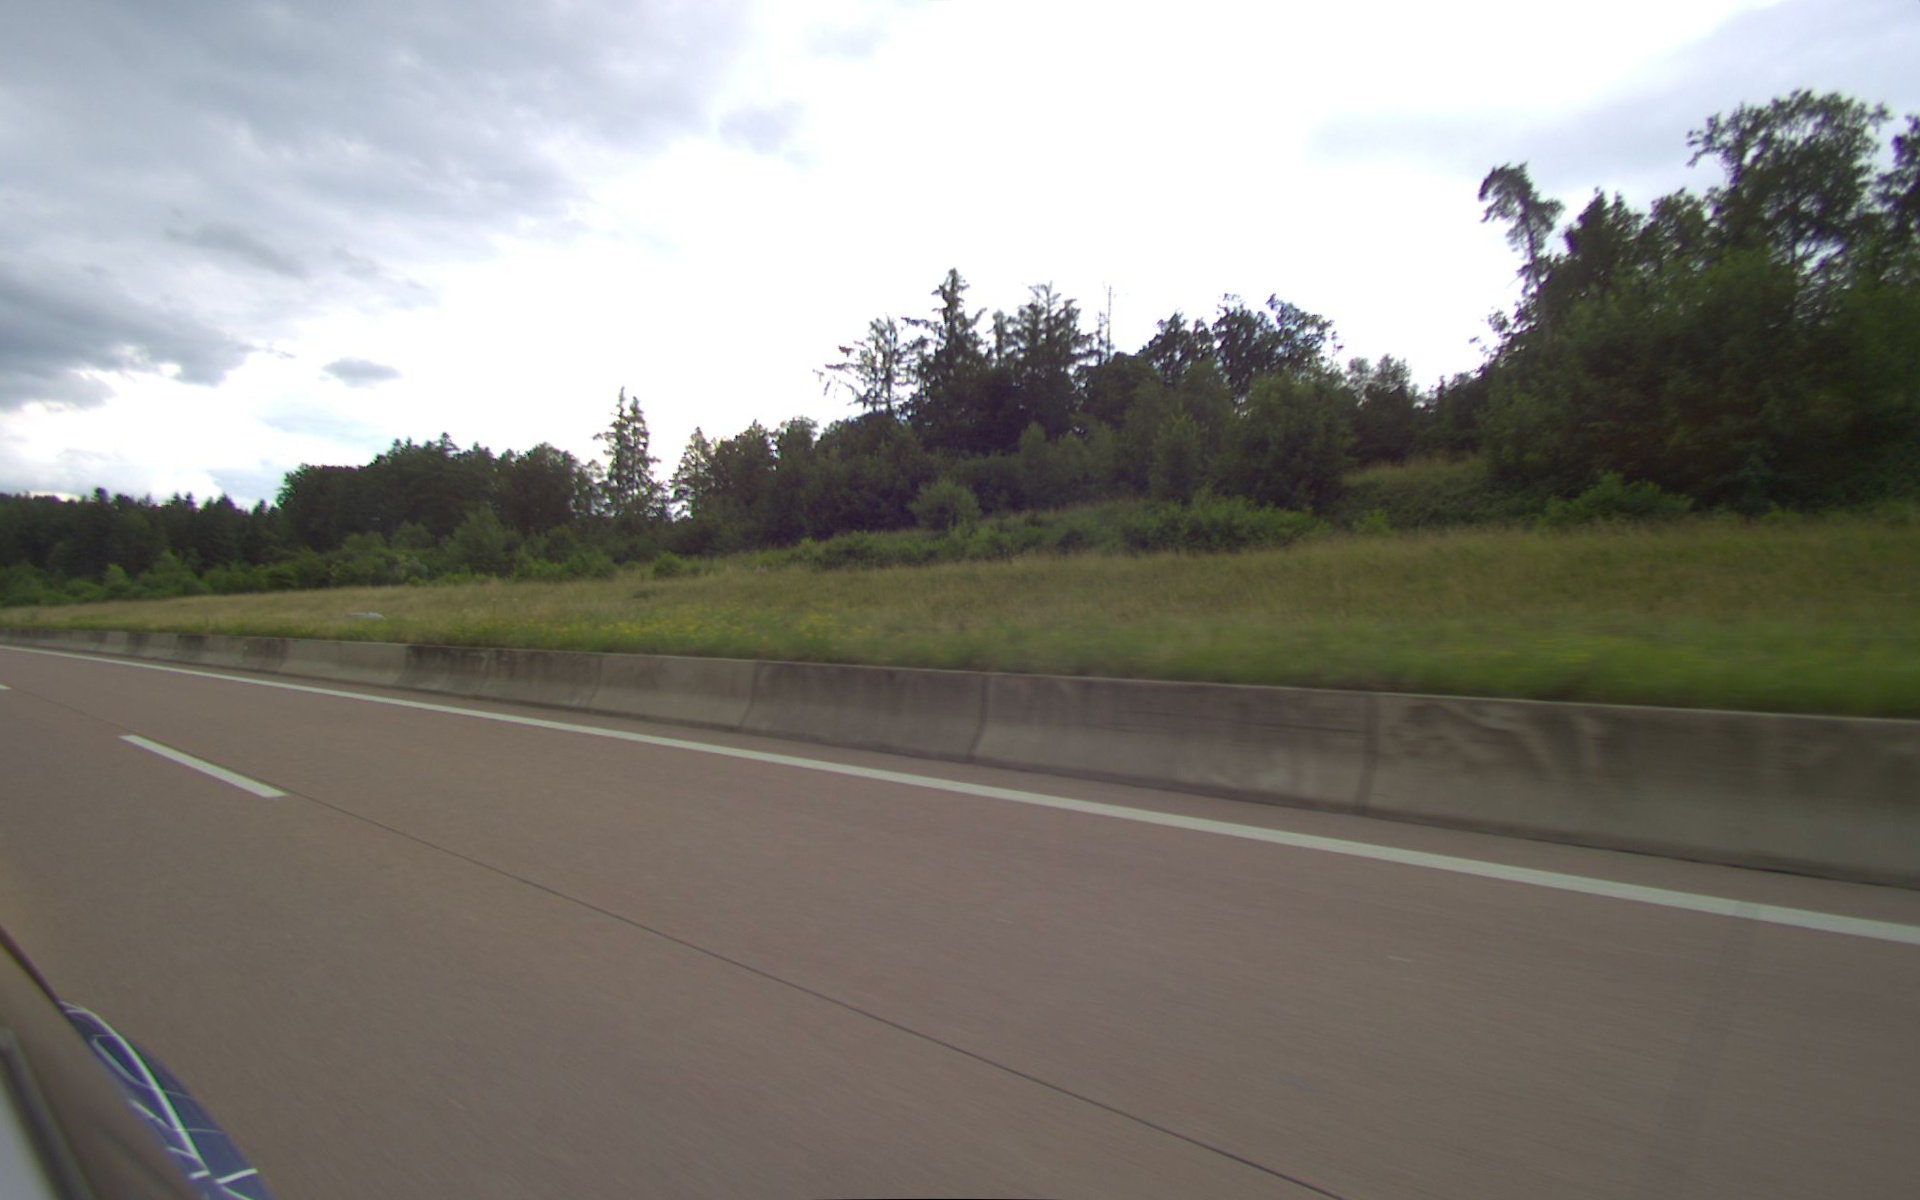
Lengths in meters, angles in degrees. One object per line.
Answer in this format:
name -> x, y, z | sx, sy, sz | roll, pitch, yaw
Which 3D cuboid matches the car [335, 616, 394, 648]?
car -> -28.848, 1.534, 48.962 | 3.402, 1.499, 1.388 | -2, 0, 40
